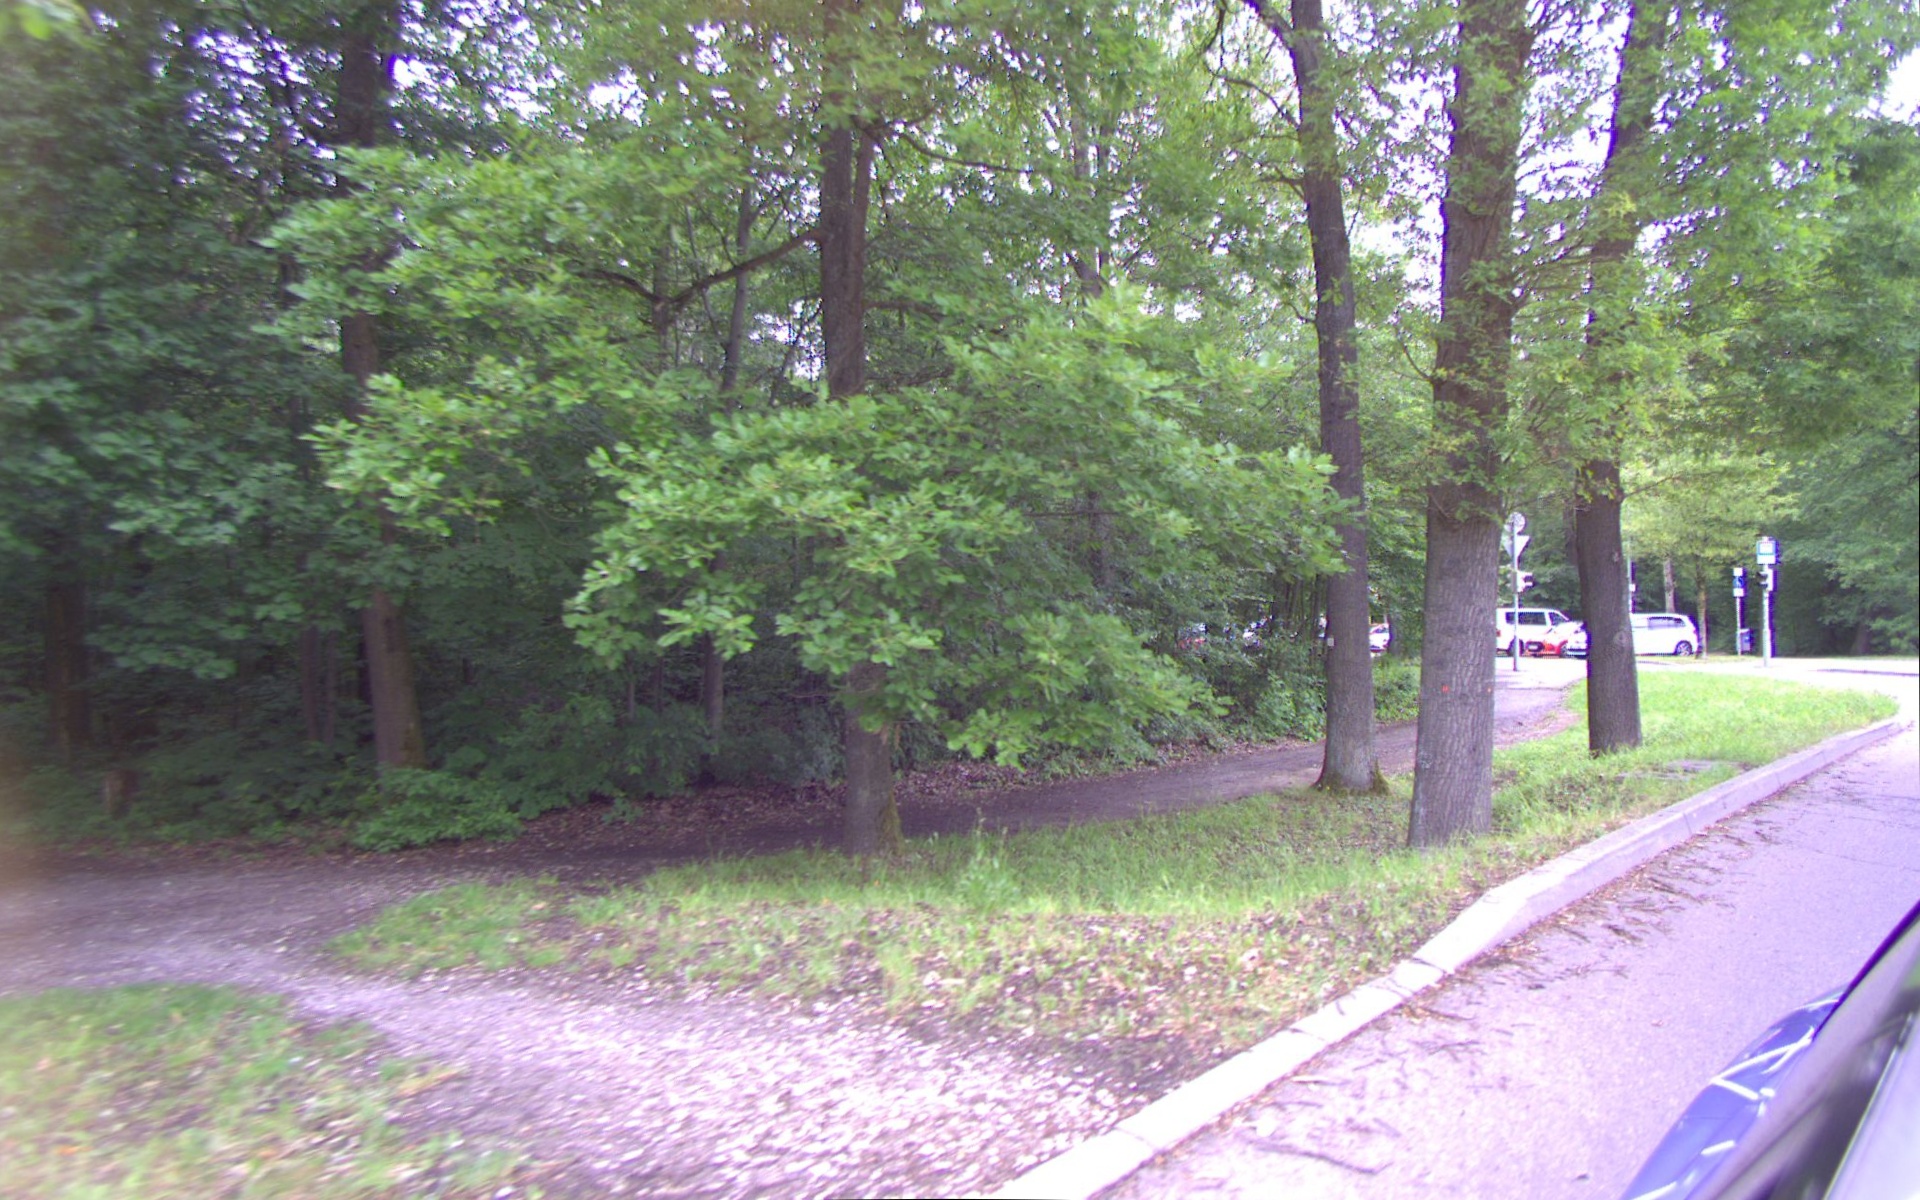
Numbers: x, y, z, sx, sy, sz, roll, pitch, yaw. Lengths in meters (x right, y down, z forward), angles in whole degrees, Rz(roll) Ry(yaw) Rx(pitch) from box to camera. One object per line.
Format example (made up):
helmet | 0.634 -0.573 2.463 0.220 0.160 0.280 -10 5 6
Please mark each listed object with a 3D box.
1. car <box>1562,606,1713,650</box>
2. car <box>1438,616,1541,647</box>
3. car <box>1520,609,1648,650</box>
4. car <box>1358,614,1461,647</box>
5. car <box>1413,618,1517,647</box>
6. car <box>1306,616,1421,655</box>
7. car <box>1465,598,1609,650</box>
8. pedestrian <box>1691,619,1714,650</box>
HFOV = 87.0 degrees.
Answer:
car | 24.951 1.037 37.373 4.330 1.572 2.002 0 -2 -8
car | 23.523 1.396 45.030 3.853 1.345 1.724 0 -2 -14
car | 24.545 1.153 39.864 3.918 1.572 1.896 0 -2 -8
car | 22.115 1.505 49.831 4.437 1.578 1.846 0 -2 -15
car | 23.641 1.522 47.430 4.043 1.342 1.822 0 -2 -12
car | 15.439 1.349 38.768 3.768 1.438 1.824 0 -2 -19
car | 24.180 1.008 42.485 5.075 1.983 2.066 -2 -2 -12
pedestrian | 40.507 1.868 55.231 0.831 1.672 1.019 -3 -3 45
